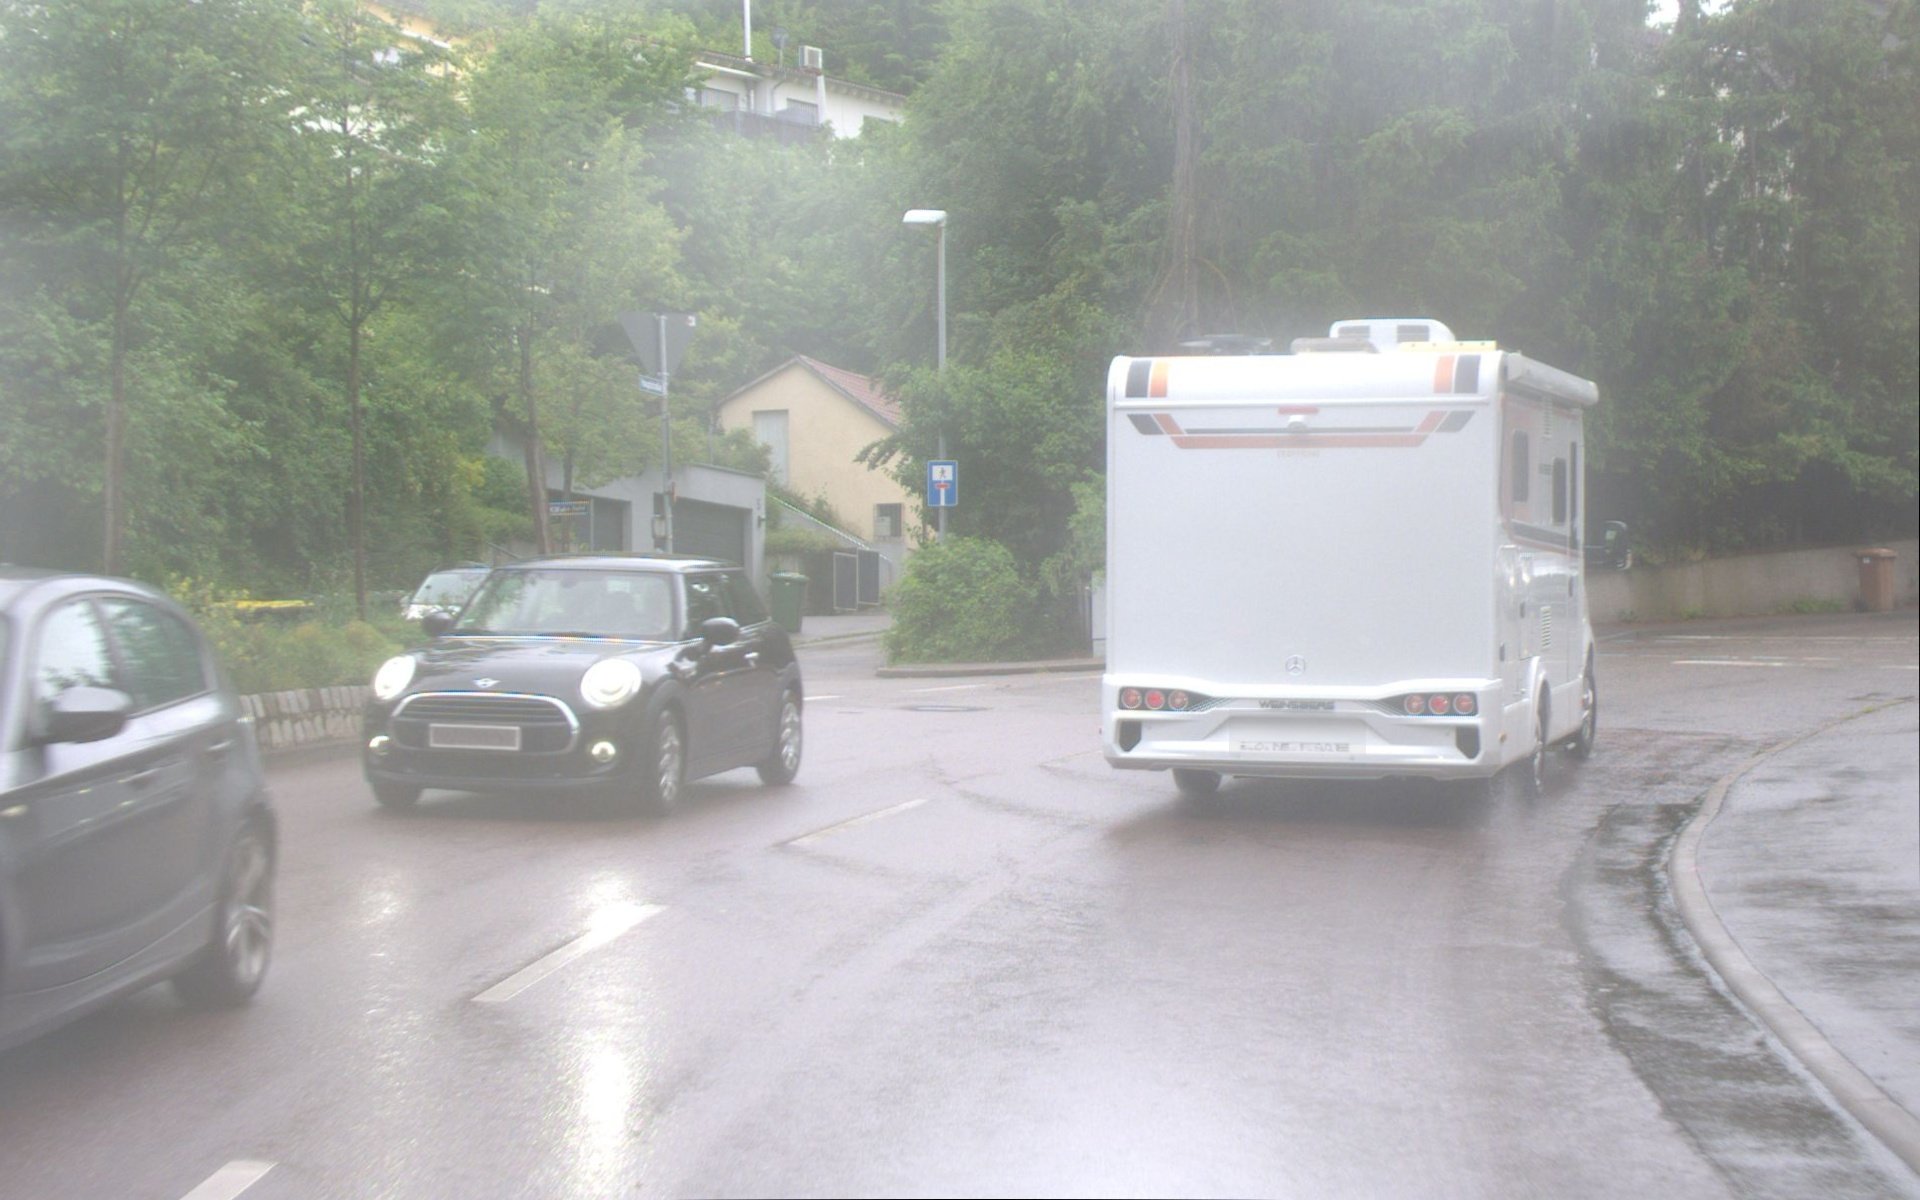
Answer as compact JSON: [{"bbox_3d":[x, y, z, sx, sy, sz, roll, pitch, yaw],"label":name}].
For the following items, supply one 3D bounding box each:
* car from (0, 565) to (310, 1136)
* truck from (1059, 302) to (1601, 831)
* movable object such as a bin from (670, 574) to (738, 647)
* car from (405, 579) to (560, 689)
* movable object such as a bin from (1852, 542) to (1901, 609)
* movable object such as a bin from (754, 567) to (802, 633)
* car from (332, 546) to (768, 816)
[{"bbox_3d":[-3.254,0.619,9.802,1.819,1.417,3.899,1,1,4],"label":"car"},{"bbox_3d":[2.531,-0.231,21.551,2.517,2.808,6.197,1,1,14],"label":"truck"},{"bbox_3d":[-4.282,0.172,57.519,0.853,1.194,0.932,1,1,16],"label":"movable object such as a bin"},{"bbox_3d":[-6.200,0.416,44.926,1.543,1.326,3.748,1,1,-1],"label":"car"},{"bbox_3d":[13.598,-0.363,51.002,0.489,0.976,0.501,-2,3,-41],"label":"movable object such as a bin"},{"bbox_3d":[-3.391,-0.003,64.015,0.705,1.218,0.590,1,1,19],"label":"movable object such as a bin"},{"bbox_3d":[-2.277,0.399,20.004,1.677,1.400,3.677,1,1,7],"label":"car"}]
